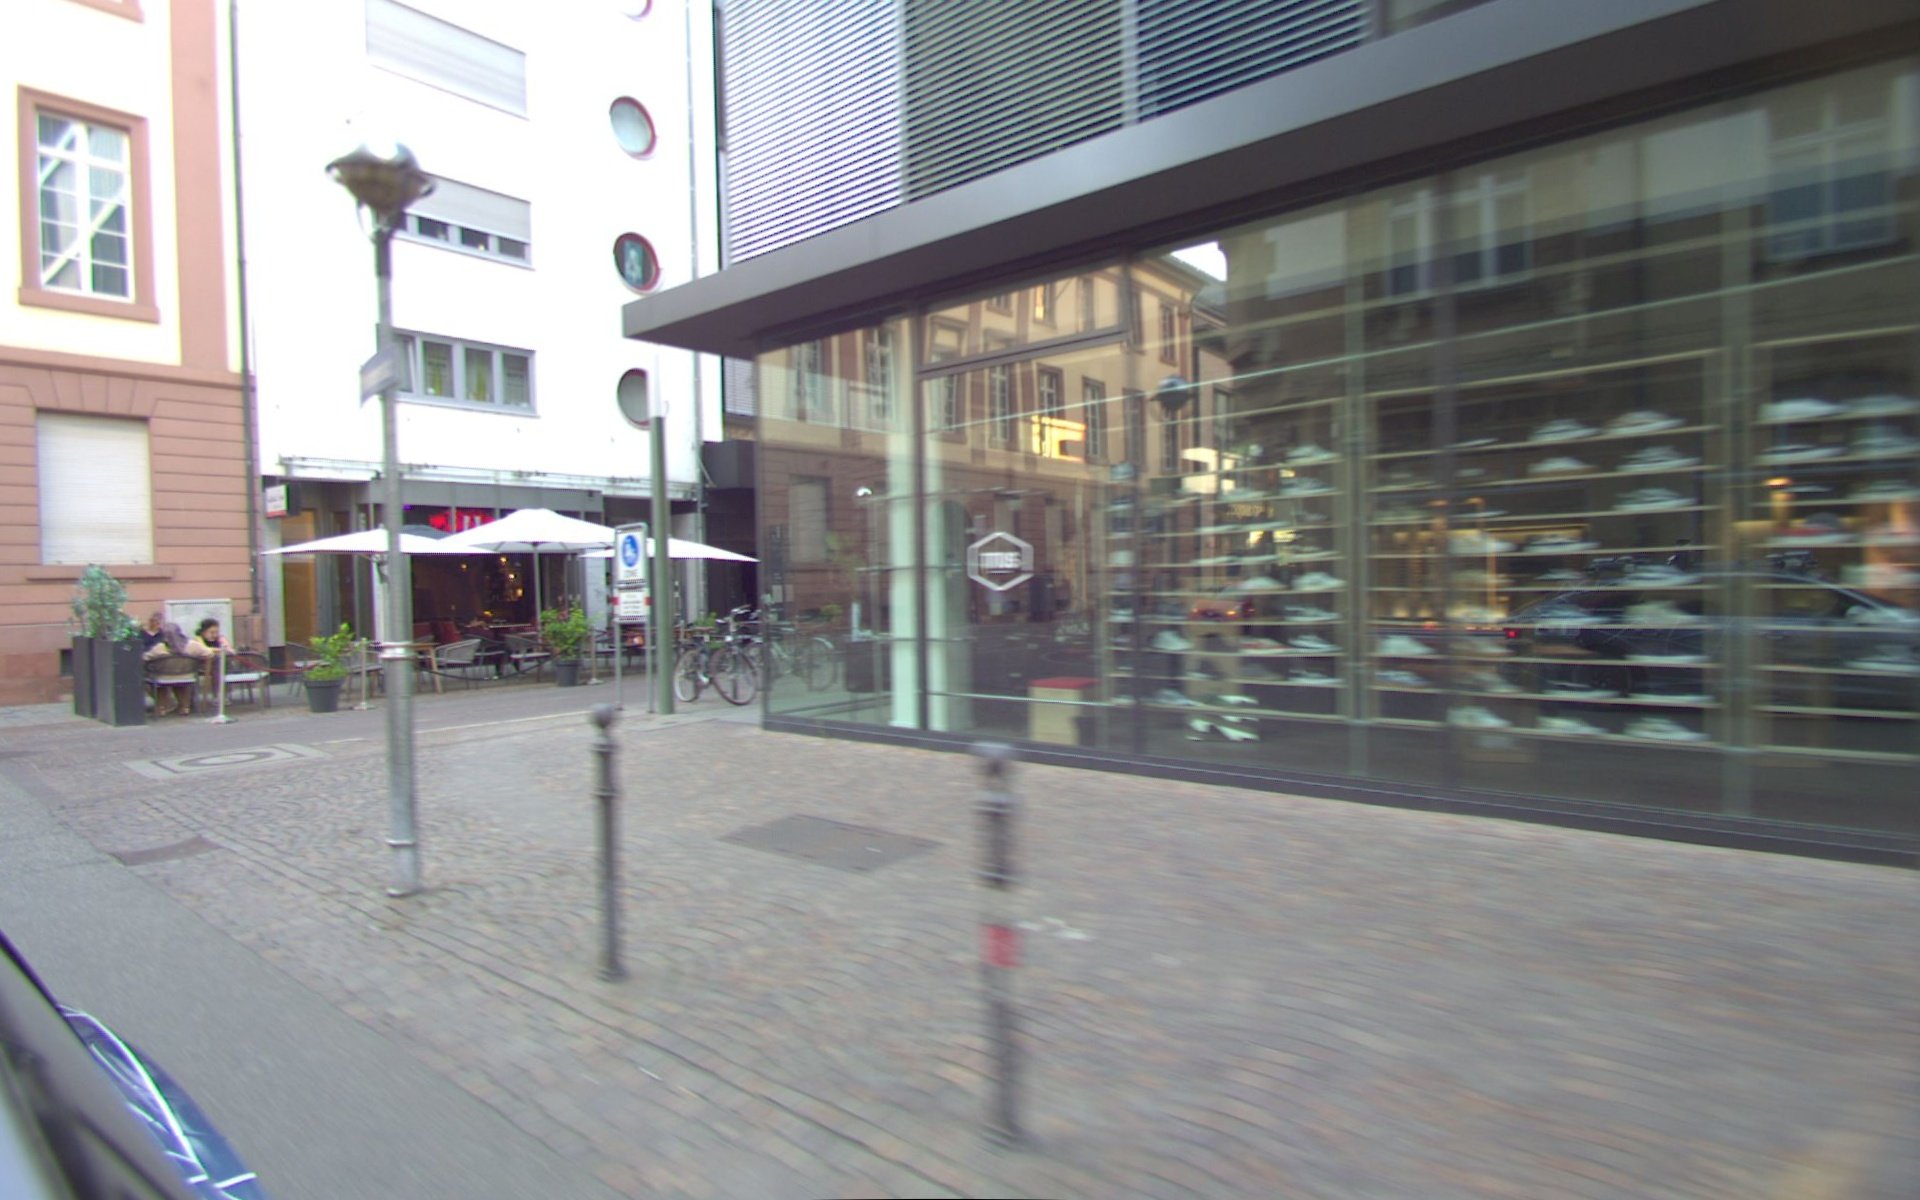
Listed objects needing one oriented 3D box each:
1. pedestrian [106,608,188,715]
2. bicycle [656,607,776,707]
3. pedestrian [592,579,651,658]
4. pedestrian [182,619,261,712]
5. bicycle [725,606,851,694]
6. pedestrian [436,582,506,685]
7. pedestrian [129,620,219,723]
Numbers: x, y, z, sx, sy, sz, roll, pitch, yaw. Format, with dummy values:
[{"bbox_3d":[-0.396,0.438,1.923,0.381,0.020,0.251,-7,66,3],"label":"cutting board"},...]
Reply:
[{"bbox_3d":[-10.788,0.789,13.436,0.791,1.341,0.665,1,2,38],"label":"pedestrian"},{"bbox_3d":[-3.036,0.703,12.502,1.701,1.145,0.461,-4,-1,39],"label":"bicycle"},{"bbox_3d":[-7.355,0.397,22.004,0.853,1.671,0.794,-1,1,23],"label":"pedestrian"},{"bbox_3d":[-10.147,0.876,13.910,0.791,1.192,0.665,1,2,38],"label":"pedestrian"},{"bbox_3d":[-2.394,0.694,13.913,2.014,1.130,0.461,-4,-1,39],"label":"bicycle"},{"bbox_3d":[-8.221,0.548,17.012,0.790,1.661,0.717,-1,1,34],"label":"pedestrian"},{"bbox_3d":[-9.862,0.875,12.697,0.790,1.192,0.666,1,2,34],"label":"pedestrian"}]
